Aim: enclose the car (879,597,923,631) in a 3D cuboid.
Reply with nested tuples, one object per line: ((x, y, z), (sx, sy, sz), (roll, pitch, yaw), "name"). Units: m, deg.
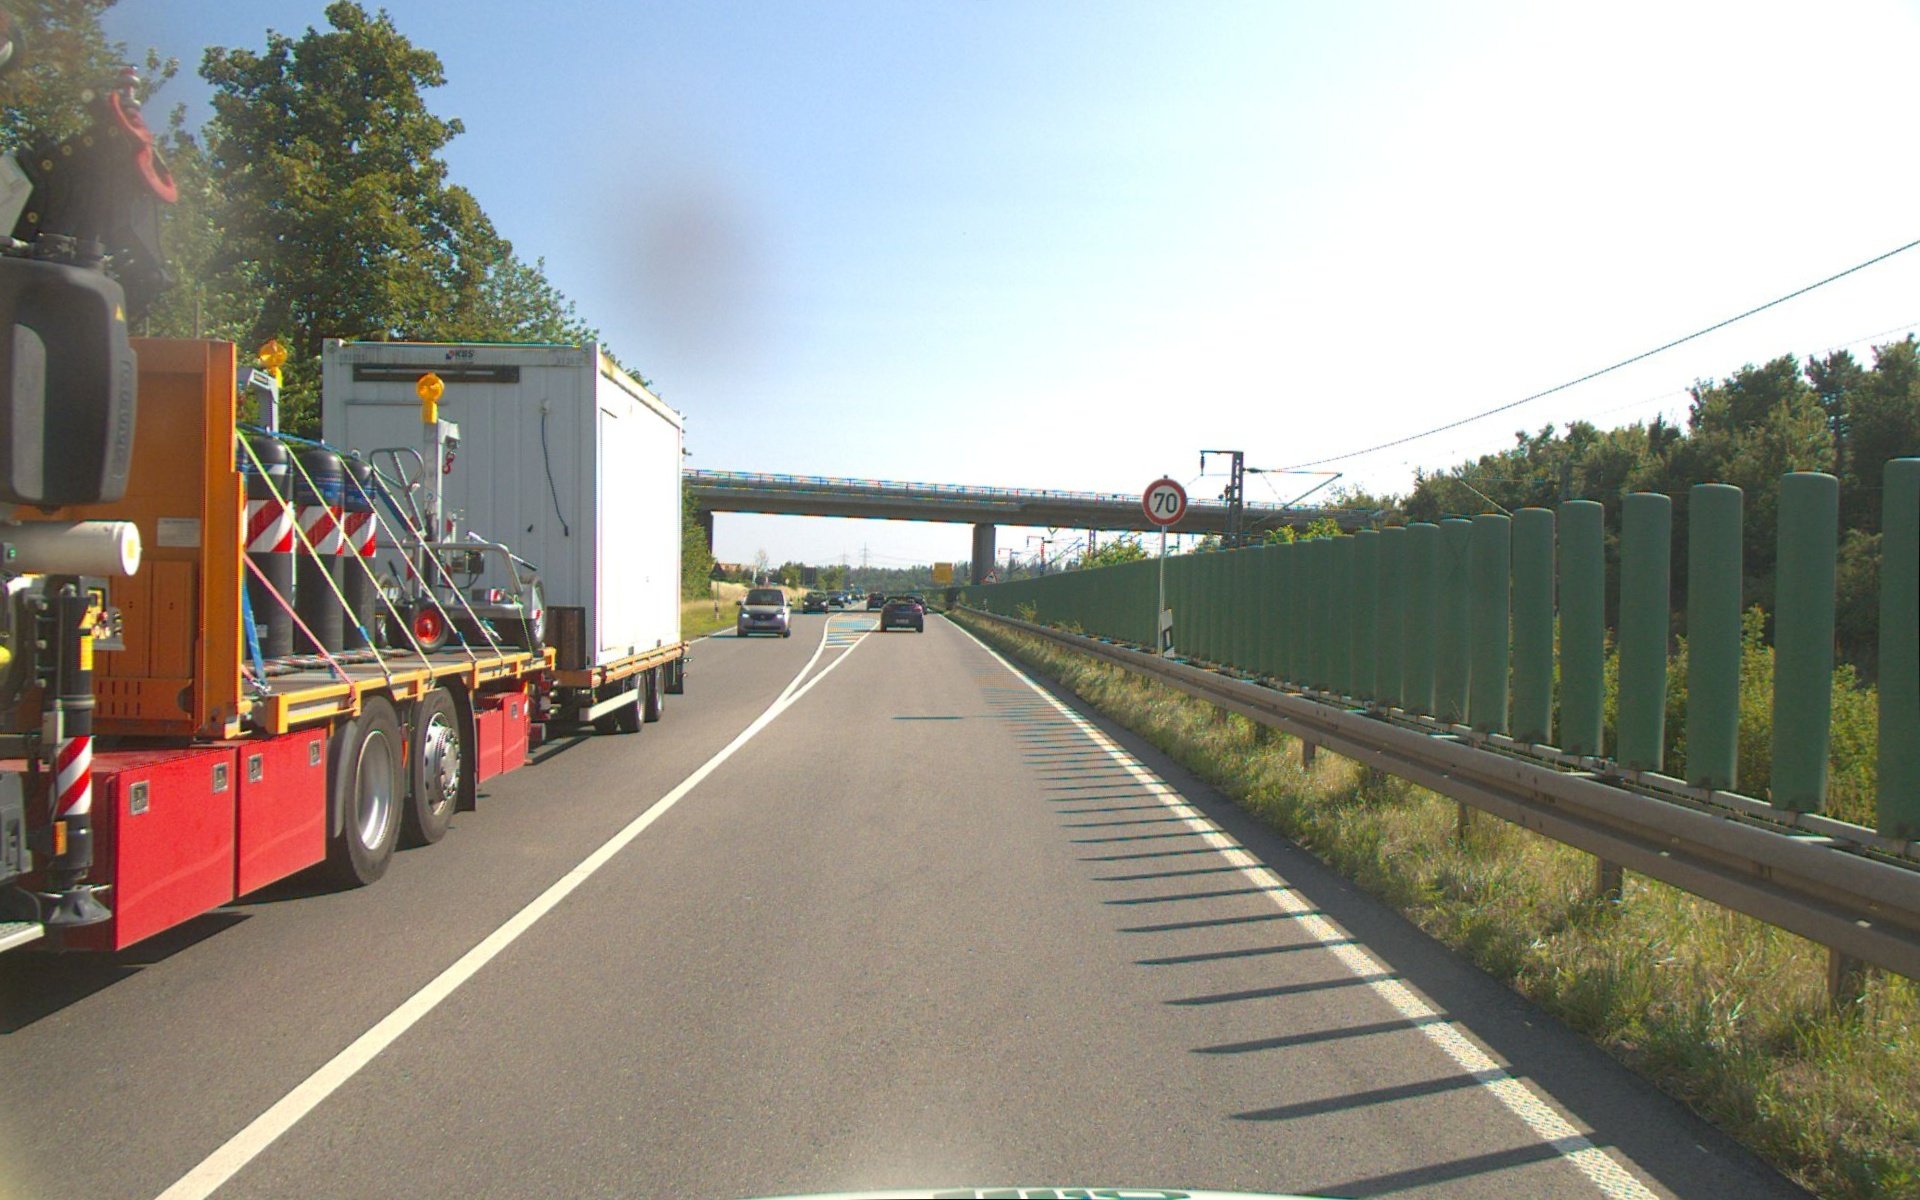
((-2.296, 0.527, 64.278), (1.630, 1.283, 3.998), (1, 0, -2), "car")

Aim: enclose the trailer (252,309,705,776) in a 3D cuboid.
((-4.446, -0.476, 17.237), (2.508, 3.658, 8.289), (1, 0, -2), "trailer")

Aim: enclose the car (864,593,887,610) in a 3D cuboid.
((-7.158, 0.121, 140.566), (1.857, 1.443, 3.998), (1, 0, -2), "car")

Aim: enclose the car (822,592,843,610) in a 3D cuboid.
((-11.747, 0.096, 152.767), (1.884, 1.620, 4.426), (0, 0, -5), "car")

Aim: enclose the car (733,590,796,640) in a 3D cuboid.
((-6.362, 0.464, 54.168), (1.820, 1.587, 3.997), (0, 0, -4), "car")

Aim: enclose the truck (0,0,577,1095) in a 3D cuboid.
((-4.129, -0.470, 7.775), (2.508, 3.753, 10.483), (1, 0, -2), "truck")

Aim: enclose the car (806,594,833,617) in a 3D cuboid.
((-9.623, 0.353, 113.529), (1.715, 1.507, 3.997), (1, 0, -4), "car")

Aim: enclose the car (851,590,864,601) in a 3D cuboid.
((-15.263, -0.645, 247.051), (1.857, 1.659, 3.998), (1, 0, -2), "car")

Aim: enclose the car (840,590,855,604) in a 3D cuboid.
((-13.821, -0.383, 202.934), (1.809, 1.659, 3.997), (1, 1, -4), "car")

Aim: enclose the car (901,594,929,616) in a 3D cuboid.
((-3.091, 0.338, 113.402), (1.857, 1.443, 3.998), (1, 0, -2), "car")
